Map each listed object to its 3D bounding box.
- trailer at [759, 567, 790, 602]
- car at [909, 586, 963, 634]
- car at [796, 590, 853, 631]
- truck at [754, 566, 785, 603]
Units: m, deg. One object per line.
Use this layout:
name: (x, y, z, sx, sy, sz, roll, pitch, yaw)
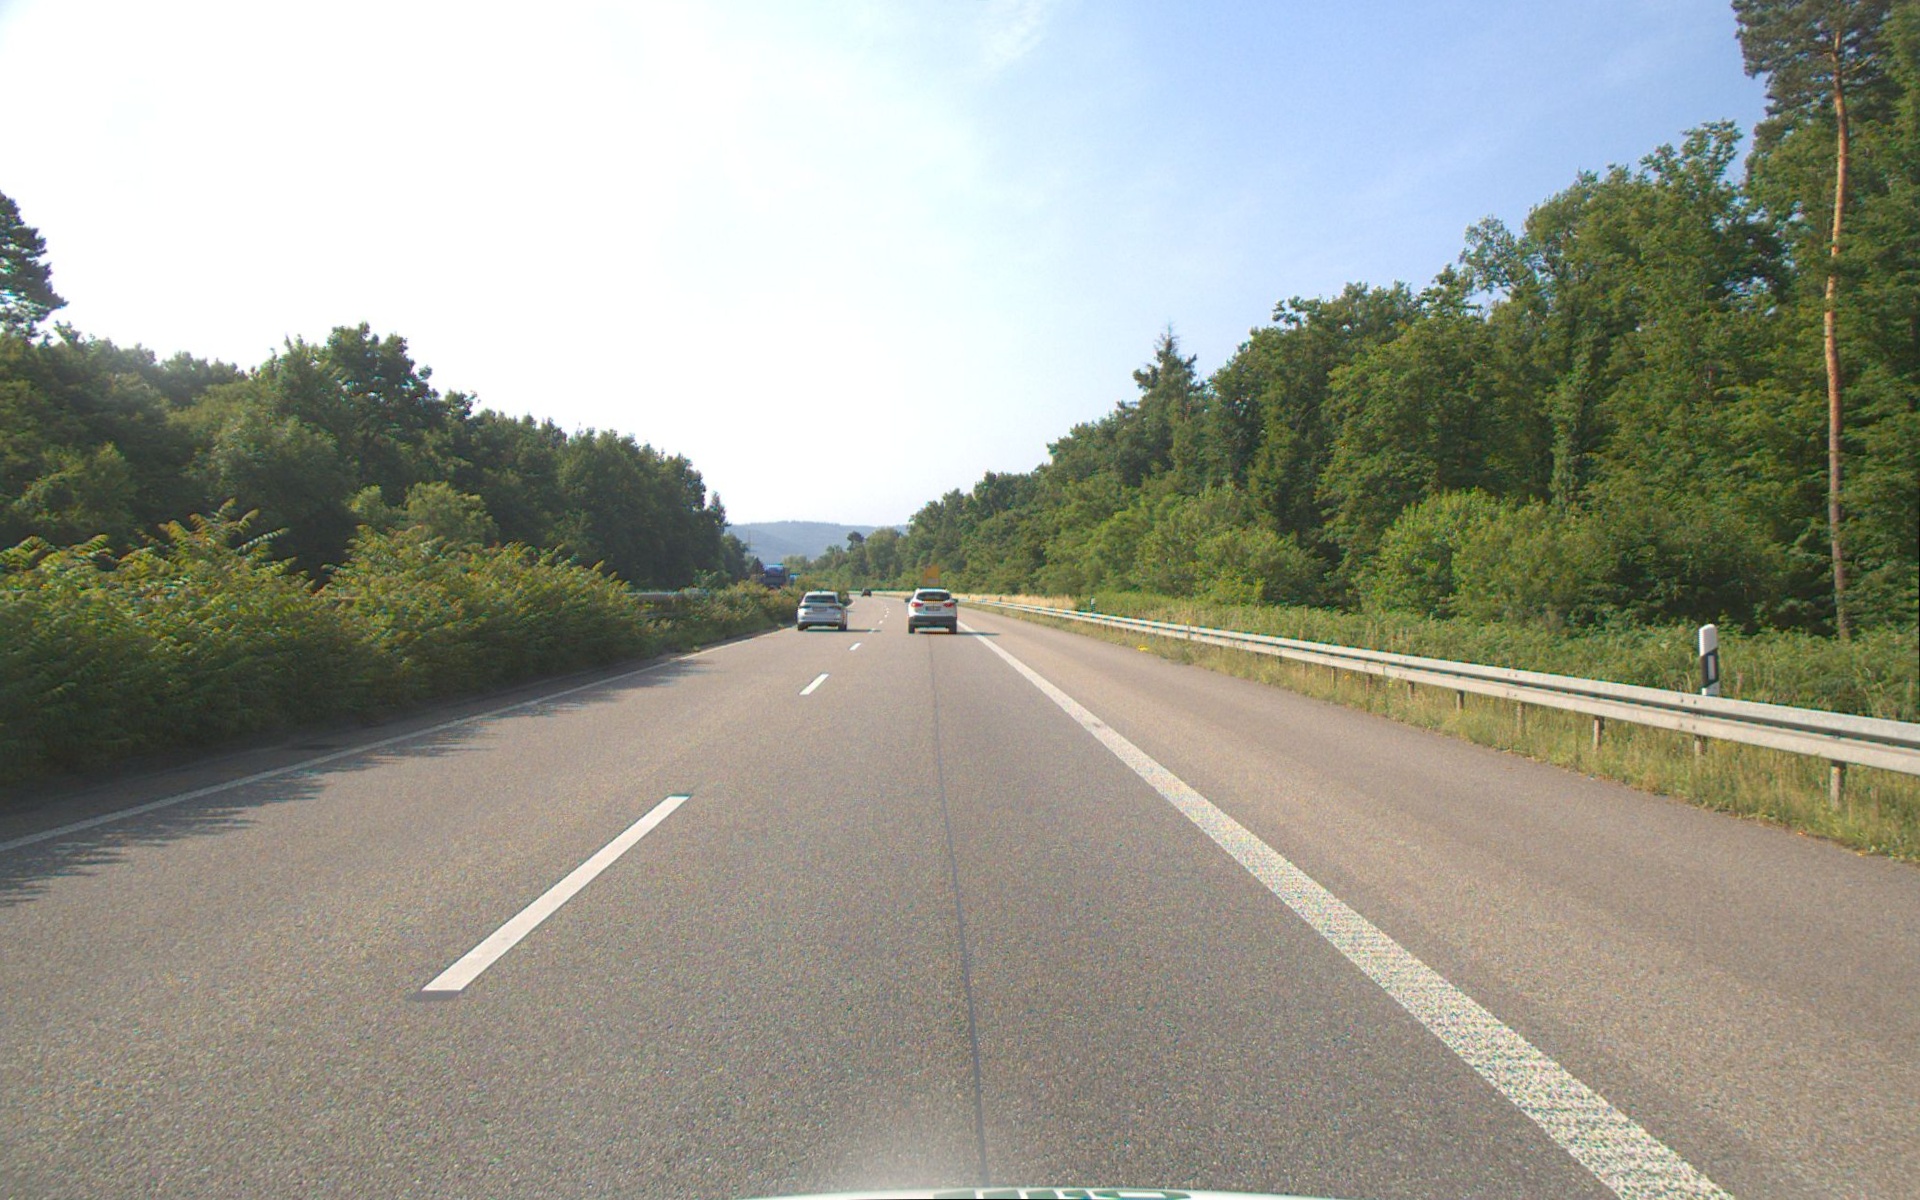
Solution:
trailer: (-21.915, -1.828, 195.877, 2.774, 4.068, 11.429, 1, 0, -2)
car: (-0.918, 0.332, 60.690, 1.836, 1.614, 3.999, 2, 1, -2)
car: (-5.151, 0.370, 63.284, 1.755, 1.463, 5.278, 0, 0, 0)
truck: (-21.628, -1.766, 188.062, 2.728, 4.068, 8.413, 1, 0, -2)
